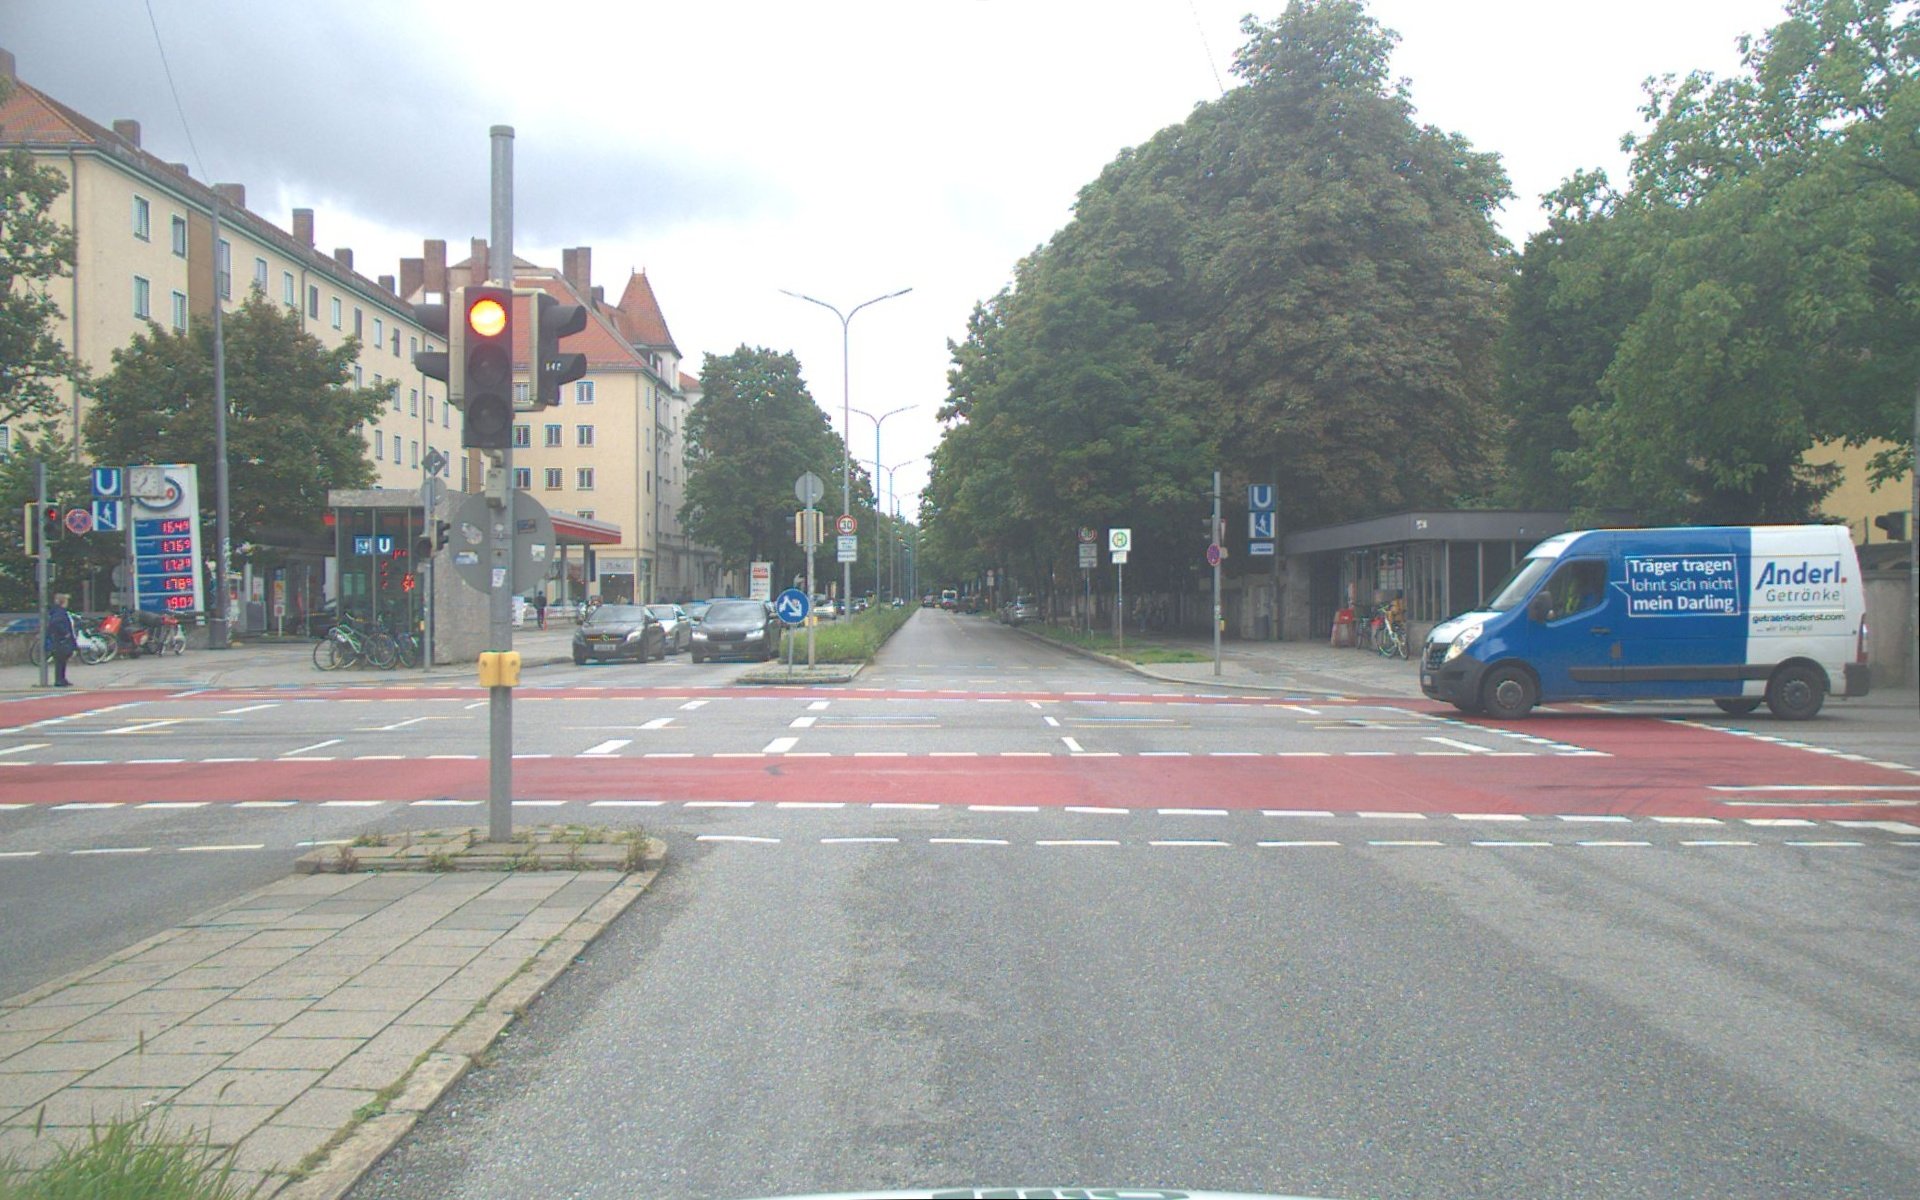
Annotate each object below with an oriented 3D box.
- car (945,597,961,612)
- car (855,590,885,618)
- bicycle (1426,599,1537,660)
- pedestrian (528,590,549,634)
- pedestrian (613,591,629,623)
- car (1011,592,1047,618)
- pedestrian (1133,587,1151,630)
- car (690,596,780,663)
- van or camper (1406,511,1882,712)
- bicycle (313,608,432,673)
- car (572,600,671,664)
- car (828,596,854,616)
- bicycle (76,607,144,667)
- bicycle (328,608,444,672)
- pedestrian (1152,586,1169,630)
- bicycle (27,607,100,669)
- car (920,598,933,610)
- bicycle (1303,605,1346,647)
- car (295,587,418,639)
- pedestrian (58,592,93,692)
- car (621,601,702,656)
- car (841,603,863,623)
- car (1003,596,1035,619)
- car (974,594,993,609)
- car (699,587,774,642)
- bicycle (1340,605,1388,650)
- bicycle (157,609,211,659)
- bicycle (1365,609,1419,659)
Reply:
[{"bbox_3d":[-0.897,0.545,202.126,1.884,1.713,3.999,0,0,-1],"label":"car"},{"bbox_3d":[-4.647,0.200,85.542,1.438,1.423,3.699,0,0,-1],"label":"car"},{"bbox_3d":[10.672,0.602,33.906,2.097,1.240,0.603,0,0,7],"label":"bicycle"},{"bbox_3d":[-19.593,0.555,76.911,0.715,2.049,0.834,1,-1,-1],"label":"pedestrian"},{"bbox_3d":[-17.335,0.357,84.539,0.682,1.666,0.738,0,0,-1],"label":"pedestrian"},{"bbox_3d":[3.745,0.269,89.744,1.708,1.387,3.805,0,0,-1],"label":"car"},{"bbox_3d":[7.209,0.333,65.501,0.663,1.712,0.683,0,0,5],"label":"pedestrian"},{"bbox_3d":[-5.423,0.678,40.290,1.724,1.519,3.999,0,0,-1],"label":"car"},{"bbox_3d":[8.884,0.149,21.874,5.436,2.512,2.068,0,0,3],"label":"van or camper"},{"bbox_3d":[-12.295,0.841,34.666,2.225,1.327,0.704,0,0,0],"label":"bicycle"},{"bbox_3d":[-8.397,0.761,41.319,1.724,1.486,3.999,0,0,-1],"label":"car"},{"bbox_3d":[-8.857,0.435,122.971,1.724,1.486,3.999,0,0,-1],"label":"car"},{"bbox_3d":[-18.490,0.787,36.021,0.596,1.257,2.183,0,0,-7],"label":"bicycle"},{"bbox_3d":[-12.286,0.853,35.446,2.238,1.327,0.694,0,0,0],"label":"bicycle"},{"bbox_3d":[7.952,0.314,65.576,0.663,1.712,0.683,0,0,5],"label":"pedestrian"},{"bbox_3d":[-19.052,0.790,35.190,0.596,1.257,2.183,0,0,-7],"label":"bicycle"},{"bbox_3d":[-4.838,0.603,239.194,1.819,1.713,3.999,0,0,-1],"label":"car"},{"bbox_3d":[9.264,0.649,42.098,0.545,1.032,2.014,0,0,-3],"label":"bicycle"},{"bbox_3d":[-22.387,0.472,61.471,3.908,1.870,1.879,0,0,-4],"label":"car"},{"bbox_3d":[-15.516,0.725,29.020,0.527,1.725,0.572,0,0,-27],"label":"pedestrian"},{"bbox_3d":[-8.643,0.791,48.180,1.724,1.486,3.999,0,0,-1],"label":"car"},{"bbox_3d":[-10.327,1.232,158.880,1.912,1.855,3.999,0,0,-1],"label":"car"},{"bbox_3d":[3.518,0.443,99.755,1.708,1.387,3.805,0,0,-1],"label":"car"},{"bbox_3d":[2.248,0.165,161.443,1.708,1.452,3.898,0,0,-1],"label":"car"},{"bbox_3d":[-6.453,0.397,48.095,1.724,1.519,3.999,0,0,-1],"label":"car"},{"bbox_3d":[9.501,0.632,38.957,0.545,1.032,2.014,0,0,-3],"label":"bicycle"},{"bbox_3d":[-18.835,0.810,40.169,0.596,1.165,1.962,0,0,-7],"label":"bicycle"},{"bbox_3d":[9.445,0.732,36.220,0.545,1.032,2.014,0,0,-3],"label":"bicycle"}]
